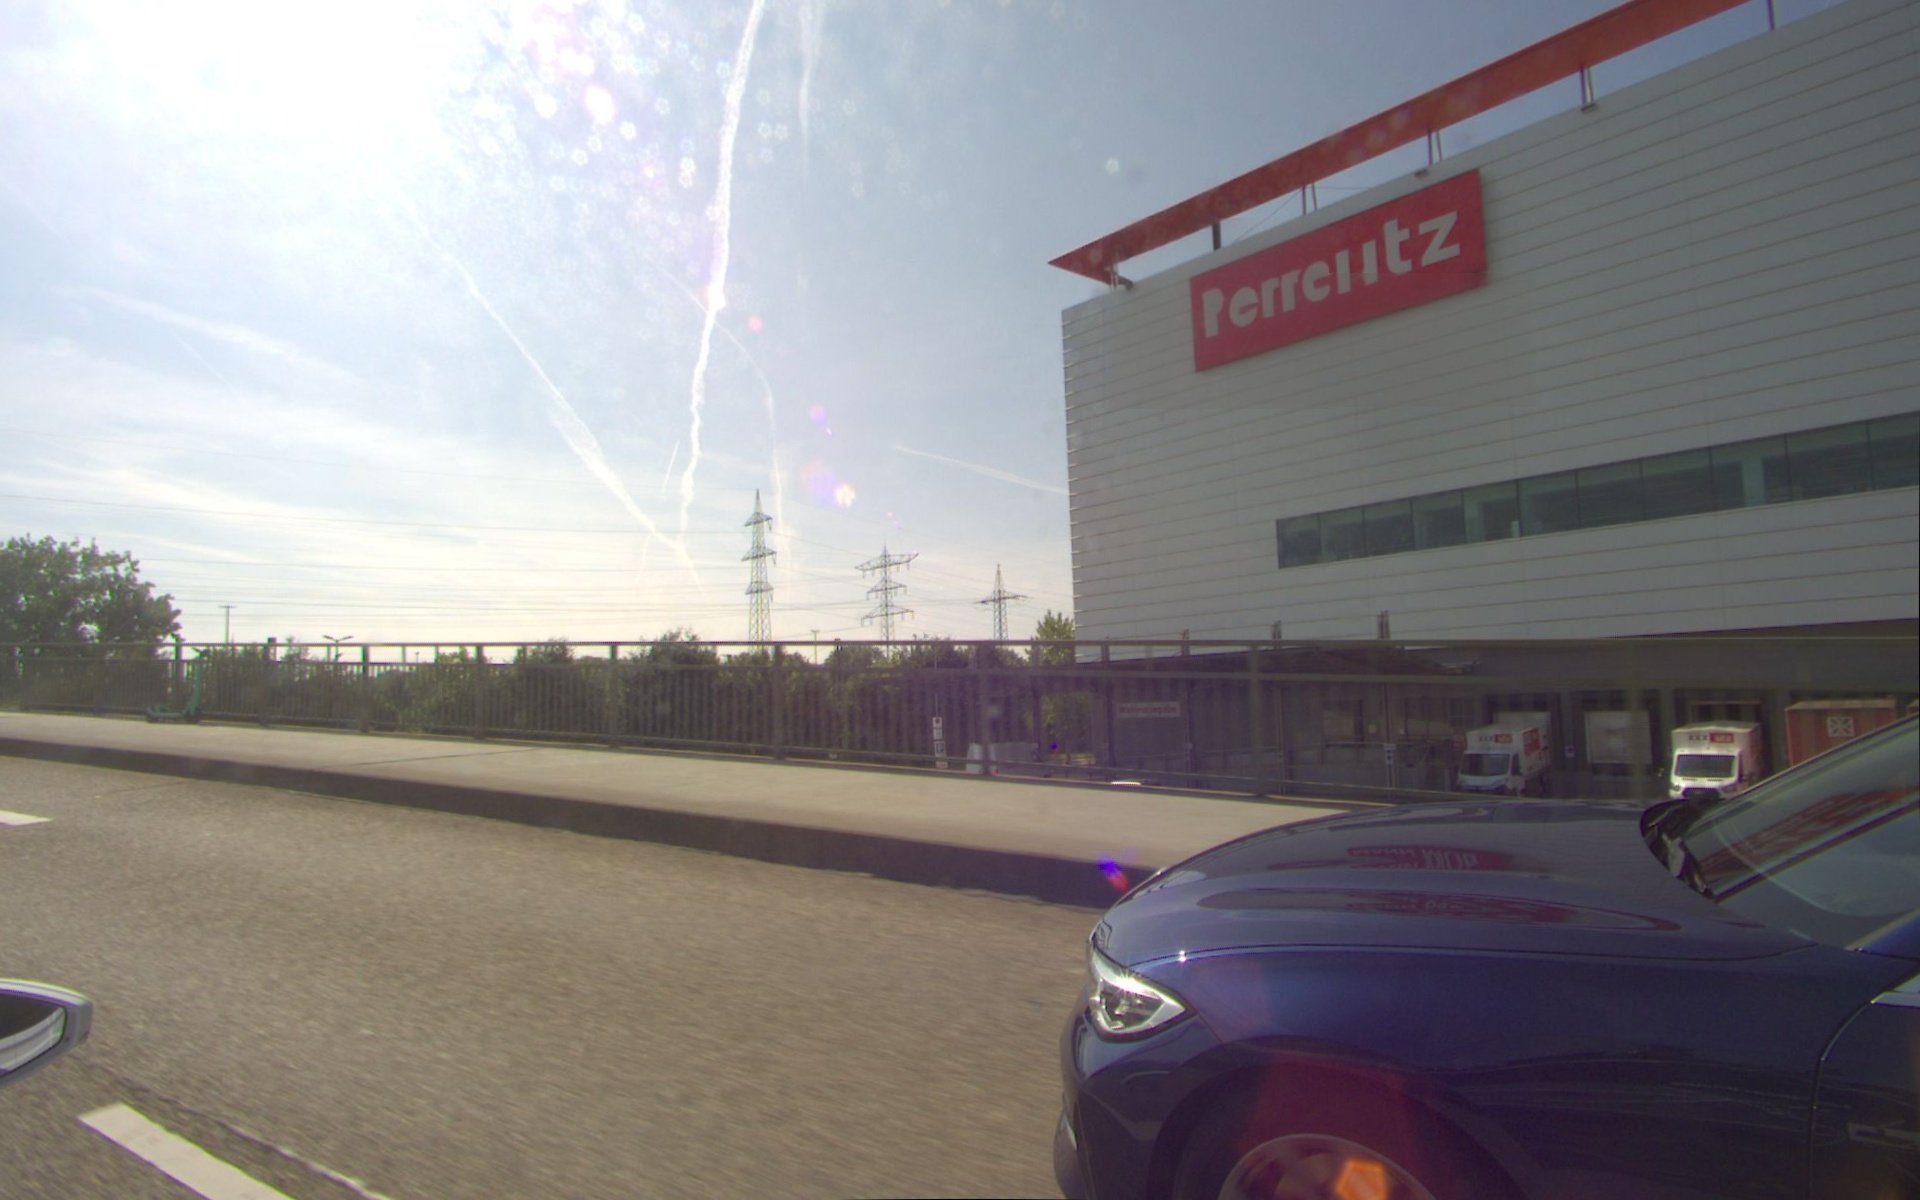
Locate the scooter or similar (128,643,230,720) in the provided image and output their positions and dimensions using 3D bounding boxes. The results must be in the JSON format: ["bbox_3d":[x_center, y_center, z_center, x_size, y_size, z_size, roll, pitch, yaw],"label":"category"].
[{"bbox_3d":[-12.216,1.265,15.667,1.456,1.156,0.512,-1,-4,20],"label":"scooter or similar"}]

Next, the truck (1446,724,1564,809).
[{"bbox_3d":[21.762,6.503,39.860,5.952,2.960,2.115,4,-7,-42],"label":"truck"}]

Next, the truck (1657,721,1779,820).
[{"bbox_3d":[26.490,5.812,34.918,5.952,2.960,2.115,4,-7,-42],"label":"truck"}]

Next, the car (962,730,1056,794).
[{"bbox_3d":[2.648,8.388,52.442,2.104,2.960,5.985,-5,-7,33],"label":"car"}]

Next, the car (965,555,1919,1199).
[{"bbox_3d":[2.378,0.690,1.662,4.458,1.500,1.786,-5,-6,32],"label":"car"}]
